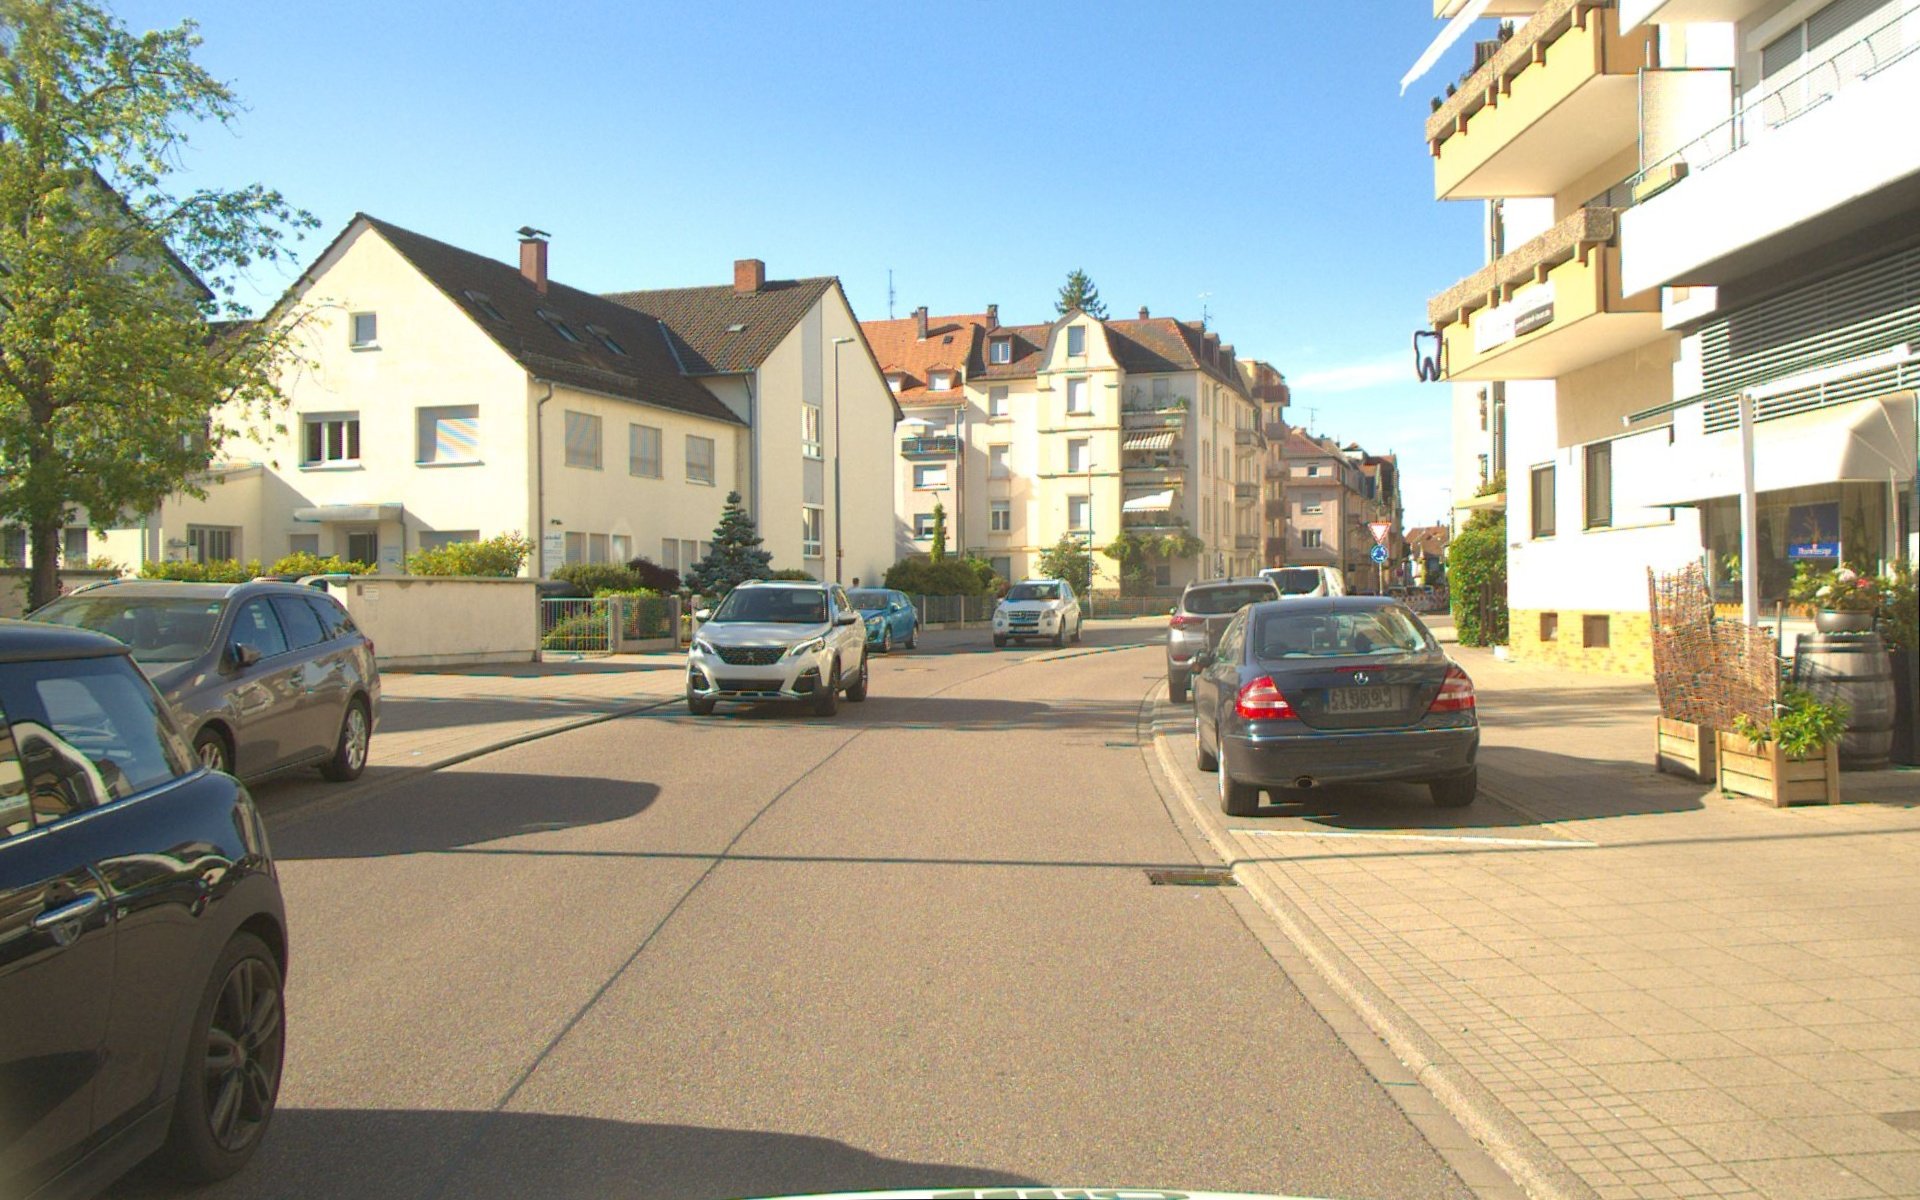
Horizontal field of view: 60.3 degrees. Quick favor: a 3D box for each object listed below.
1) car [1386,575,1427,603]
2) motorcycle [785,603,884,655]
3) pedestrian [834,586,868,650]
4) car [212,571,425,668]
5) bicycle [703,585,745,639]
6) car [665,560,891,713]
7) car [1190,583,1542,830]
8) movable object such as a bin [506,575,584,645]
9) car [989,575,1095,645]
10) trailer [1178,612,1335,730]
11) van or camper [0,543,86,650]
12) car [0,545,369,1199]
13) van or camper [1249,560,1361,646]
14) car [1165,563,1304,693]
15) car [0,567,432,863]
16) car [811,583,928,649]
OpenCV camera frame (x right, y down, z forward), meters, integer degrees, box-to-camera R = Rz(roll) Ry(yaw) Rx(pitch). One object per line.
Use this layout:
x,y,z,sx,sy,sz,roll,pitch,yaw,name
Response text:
30.923,-0.773,114.464,2.381,1.843,4.724,-1,0,20,car
-2.856,0.639,37.517,2.016,1.036,0.946,3,2,25,motorcycle
-3.027,0.513,46.016,0.668,1.733,0.824,-1,-3,20,pedestrian
-11.082,0.387,28.779,1.763,1.583,3.188,-1,-2,22,car
-5.787,0.316,40.658,0.446,1.272,1.929,-1,-2,10,bicycle
-2.204,0.503,21.254,1.878,1.755,4.339,-1,-2,8,car
2.785,0.665,12.482,1.929,1.476,5.006,0,-1,6,car
-9.205,0.237,36.731,1.255,1.516,1.228,-1,-2,15,movable object such as a bin
2.326,0.246,45.613,1.947,1.816,4.522,-1,0,16,car
3.323,0.745,18.482,1.568,1.199,2.945,-1,0,11,trailer
-23.963,-0.010,39.980,5.110,2.440,2.150,-2,-2,20,van or camper
-2.606,0.686,2.952,1.704,1.539,3.730,-2,-3,1,car
8.824,0.044,42.005,1.979,1.981,4.703,-3,0,21,van or camper
3.930,0.449,23.895,1.778,1.682,4.563,-1,-2,9,car
-5.257,0.584,11.187,1.953,1.561,4.916,0,1,-2,car
-2.148,0.346,40.446,1.759,1.499,4.334,1,1,12,car
